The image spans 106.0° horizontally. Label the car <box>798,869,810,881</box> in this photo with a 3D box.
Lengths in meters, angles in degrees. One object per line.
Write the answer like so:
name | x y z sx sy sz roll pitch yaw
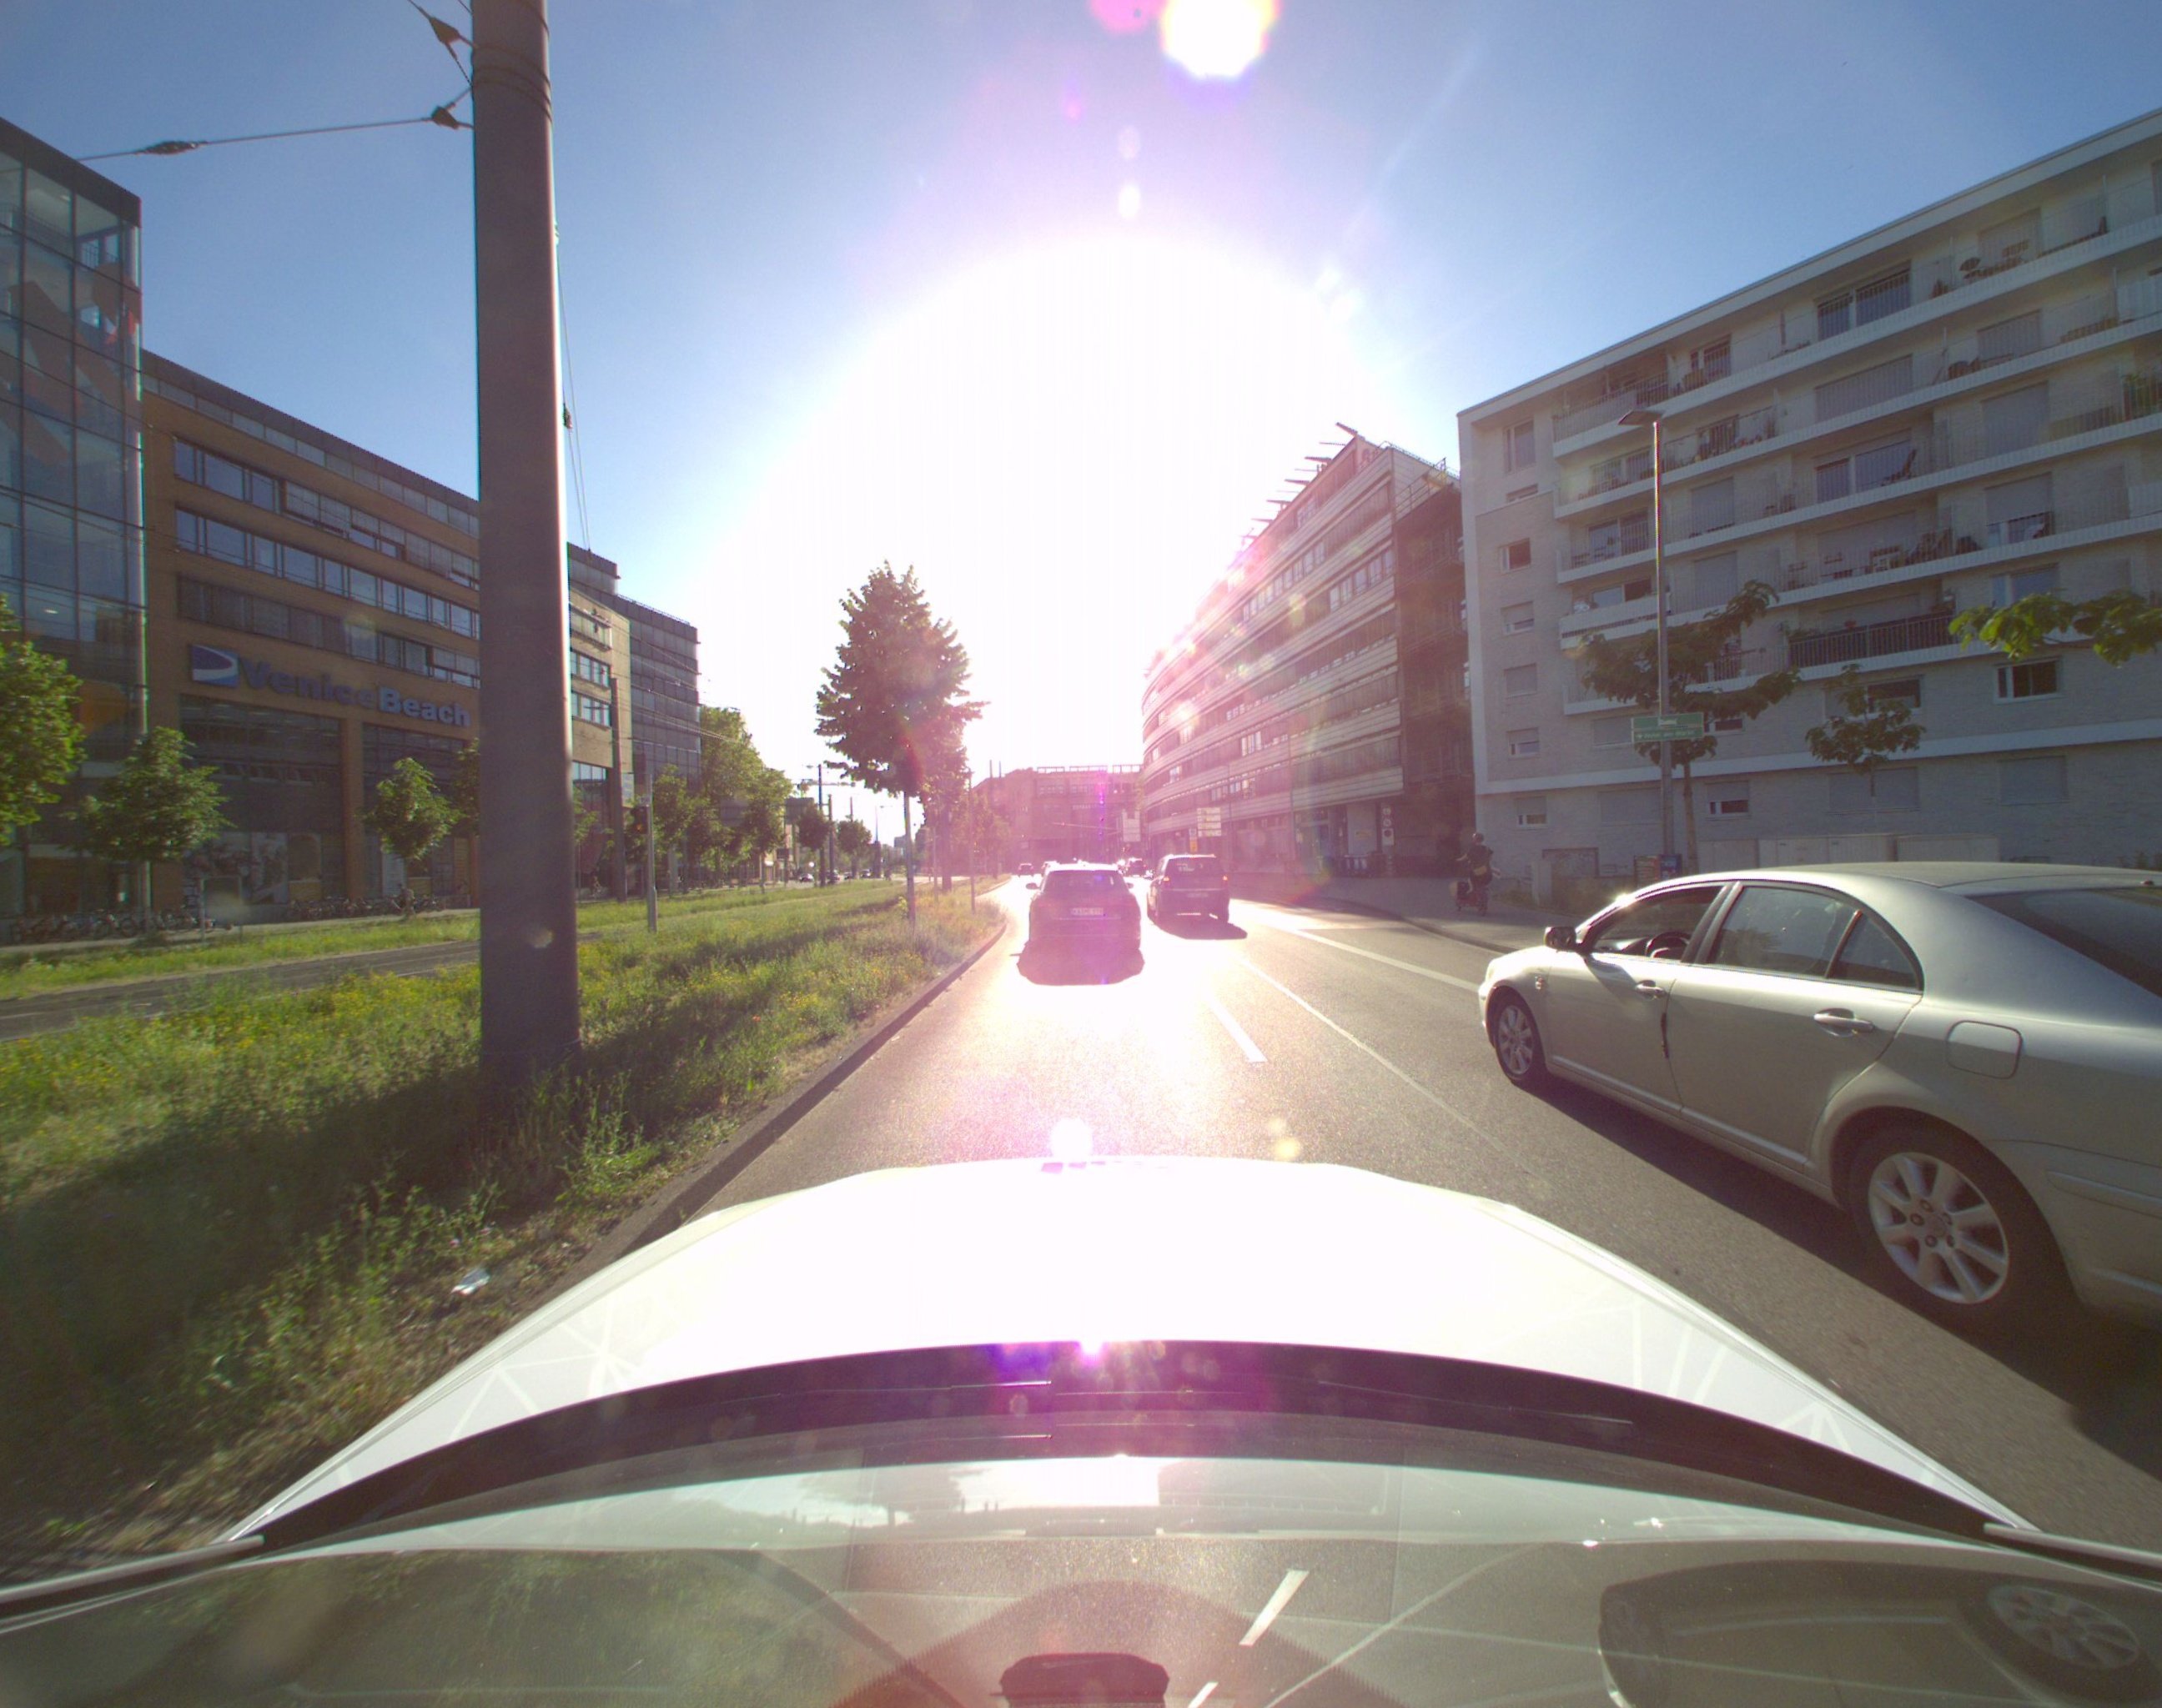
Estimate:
car | -52.586 3.977 154.697 1.999 2.014 3.976 -2 -1 -18

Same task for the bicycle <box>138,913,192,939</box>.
bicycle | -35.800 2.799 31.834 1.754 0.926 0.566 -2 -1 11

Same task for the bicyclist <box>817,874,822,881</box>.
bicyclist | -48.611 4.390 151.339 0.759 1.375 0.945 -2 -1 -16

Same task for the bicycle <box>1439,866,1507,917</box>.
bicycle | 8.640 0.796 18.058 0.496 1.032 2.207 -2 -1 3

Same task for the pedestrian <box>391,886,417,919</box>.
pedestrian | -35.440 2.509 42.629 0.742 1.669 0.676 -2 -1 1

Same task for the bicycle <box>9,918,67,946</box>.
bicycle | -36.472 2.724 28.471 1.754 0.926 0.492 -2 -1 11

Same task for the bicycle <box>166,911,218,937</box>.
bicycle | -35.656 2.808 32.662 1.754 0.926 0.566 -2 -1 11

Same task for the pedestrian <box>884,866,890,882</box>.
pedestrian | -22.813 2.370 95.748 0.631 1.830 0.660 -2 -1 -11

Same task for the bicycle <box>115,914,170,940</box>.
bicycle | -35.917 2.791 31.181 1.754 0.926 0.566 -2 -1 11

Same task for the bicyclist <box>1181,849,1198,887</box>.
bicyclist | 5.264 0.688 39.629 0.576 1.791 0.862 -2 -1 -4

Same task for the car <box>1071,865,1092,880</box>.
car | 0.054 1.810 79.949 1.803 1.457 3.995 -1 -1 -3

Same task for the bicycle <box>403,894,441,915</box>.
bicycle | -36.746 2.821 45.428 1.758 1.049 0.491 -2 -1 2

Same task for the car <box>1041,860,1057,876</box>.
car | -3.565 1.566 90.460 1.733 1.651 3.995 -2 -1 -3

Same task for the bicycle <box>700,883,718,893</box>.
bicycle | -41.542 3.778 90.870 1.777 0.951 0.536 -2 -1 -31

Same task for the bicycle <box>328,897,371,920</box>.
bicycle | -36.840 2.758 41.030 1.758 1.049 0.491 -2 -1 2

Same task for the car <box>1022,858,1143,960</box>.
car | 0.074 0.869 14.724 1.805 1.492 4.496 -2 -1 1

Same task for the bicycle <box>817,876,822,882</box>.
bicycle | -48.669 4.647 151.602 0.651 1.085 2.910 -2 -1 -16

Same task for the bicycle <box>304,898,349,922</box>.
bicycle | -36.904 2.742 39.834 1.758 1.049 0.491 -2 -1 2

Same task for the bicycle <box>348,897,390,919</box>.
bicycle | -36.767 2.772 42.074 1.758 1.049 0.491 -2 -1 2

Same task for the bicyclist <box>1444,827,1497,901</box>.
bicyclist | 8.584 0.229 17.984 0.622 1.566 1.044 -2 -1 1

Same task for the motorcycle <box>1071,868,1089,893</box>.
motorcycle | -0.077 1.259 38.694 0.773 1.115 1.968 -2 -1 -1

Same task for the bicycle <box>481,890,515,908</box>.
bicycle | -36.667 2.829 51.243 1.758 1.049 0.491 -2 -1 2

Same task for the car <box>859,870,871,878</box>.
car | -41.967 3.815 157.899 1.752 1.505 3.852 -2 -1 -21

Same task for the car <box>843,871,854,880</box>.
car | -45.164 4.191 158.247 1.752 1.505 3.852 -2 -1 -21

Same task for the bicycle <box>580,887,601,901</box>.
bicycle | -34.521 2.818 57.375 0.497 0.910 1.883 -2 -1 -7

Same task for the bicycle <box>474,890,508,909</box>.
bicycle | -36.664 2.820 50.633 1.758 1.049 0.491 -2 -1 2

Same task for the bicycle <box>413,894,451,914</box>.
bicycle | -36.753 2.832 46.141 1.758 1.049 0.491 -2 -1 2

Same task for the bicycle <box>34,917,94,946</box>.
bicycle | -36.305 2.766 29.068 1.754 0.926 0.566 -2 -1 11

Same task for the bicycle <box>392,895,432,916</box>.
bicycle | -36.750 2.811 44.737 1.758 1.049 0.491 -2 -1 2

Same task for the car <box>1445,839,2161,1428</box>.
car | 3.607 0.696 3.994 1.744 1.431 4.491 -2 -1 2

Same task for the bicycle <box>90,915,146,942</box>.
bicycle | -36.043 2.783 30.476 1.754 0.926 0.566 -2 -1 11

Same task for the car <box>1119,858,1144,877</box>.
car | 4.957 1.319 80.302 1.988 1.750 4.326 -2 -1 -2

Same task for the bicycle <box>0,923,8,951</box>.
bicycle | -36.650 2.797 27.045 1.754 0.926 0.492 -2 -1 11

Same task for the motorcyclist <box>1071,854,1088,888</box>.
motorcyclist | -0.086 0.803 38.165 0.743 1.530 1.020 -2 -1 -2

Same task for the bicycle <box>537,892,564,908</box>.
bicycle | -30.193 2.612 46.388 0.462 0.868 1.768 -2 -1 -4

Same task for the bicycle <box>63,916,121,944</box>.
bicycle | -36.179 2.775 29.798 1.754 0.926 0.566 -2 -1 11

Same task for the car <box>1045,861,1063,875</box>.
car | -2.751 1.426 83.130 1.733 1.349 3.995 -2 -1 -3

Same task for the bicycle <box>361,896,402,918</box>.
bicycle | -36.718 2.781 42.748 1.758 1.049 0.491 -2 -1 2

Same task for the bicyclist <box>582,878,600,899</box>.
bicyclist | -34.532 2.435 57.419 0.677 1.465 1.014 -2 -1 -7

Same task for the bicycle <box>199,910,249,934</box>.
bicycle | -35.455 2.820 33.700 1.754 0.926 0.566 -2 -1 11

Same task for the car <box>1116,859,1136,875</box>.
car | 5.026 1.450 91.141 1.987 1.651 3.999 -2 -1 0

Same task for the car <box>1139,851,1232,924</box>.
car | 2.566 0.802 21.000 1.683 1.629 4.460 -2 -1 -1

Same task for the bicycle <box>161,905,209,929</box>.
bicycle | -38.538 2.706 35.035 1.754 0.926 0.566 -2 -1 11

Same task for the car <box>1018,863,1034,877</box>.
car | -5.986 1.733 89.289 1.646 1.433 3.995 -2 -1 -3
